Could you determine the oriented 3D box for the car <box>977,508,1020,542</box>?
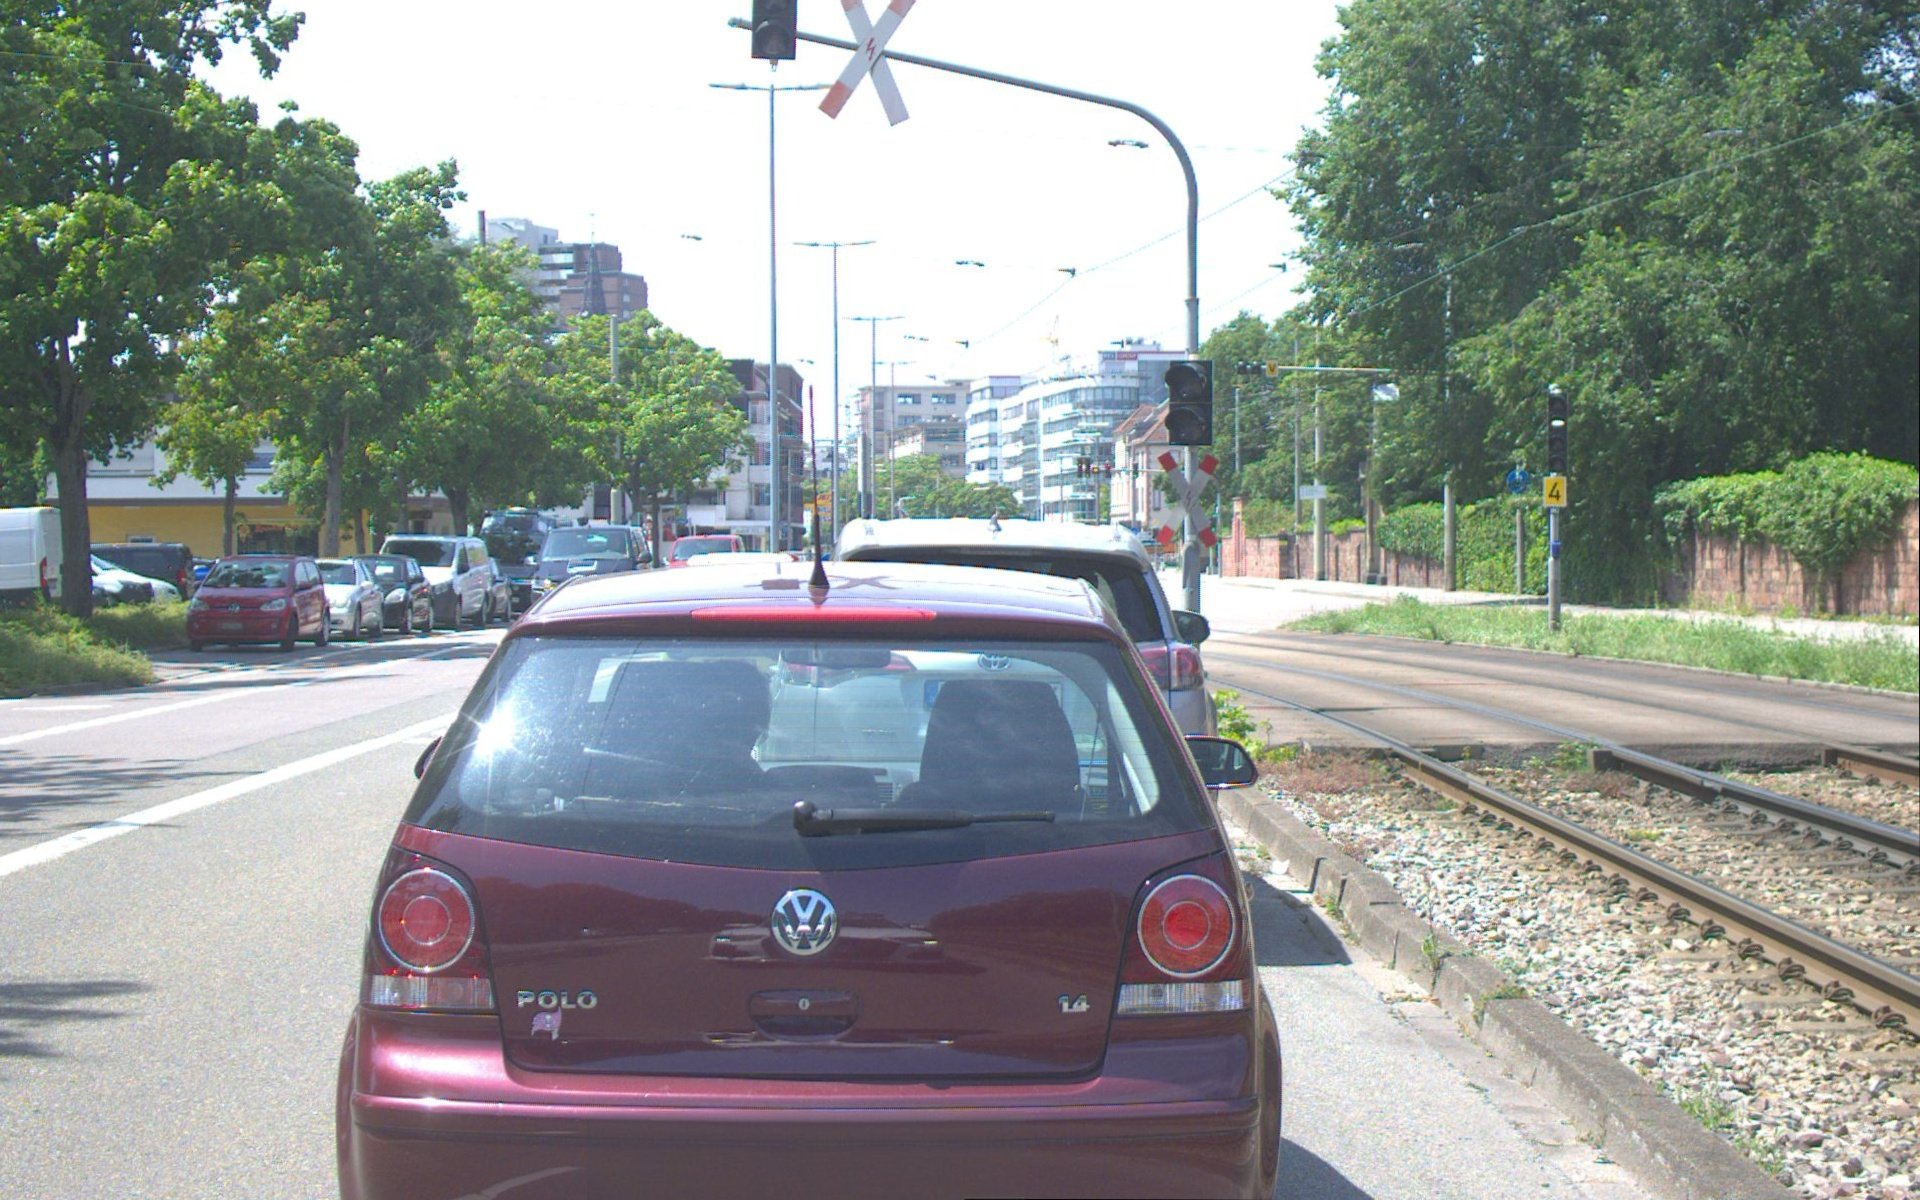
[{"bbox_3d":[2.150,-4.219,193.495,1.918,1.904,4.572,-1,1,-5],"label":"car"}]

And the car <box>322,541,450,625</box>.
[{"bbox_3d":[-10.937,-0.349,65.687,1.614,1.479,3.784,3,1,2],"label":"car"}]

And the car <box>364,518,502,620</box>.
[{"bbox_3d":[-10.811,-0.650,70.883,1.863,1.930,4.805,3,1,2],"label":"car"}]

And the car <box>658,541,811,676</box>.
[{"bbox_3d":[-2.531,0.064,39.166,1.551,1.443,3.412,1,1,-1],"label":"car"}]

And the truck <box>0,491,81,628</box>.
[{"bbox_3d":[-21.192,-0.810,70.629,5.578,2.750,2.432,-1,1,1],"label":"truck"}]

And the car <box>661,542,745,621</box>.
[{"bbox_3d":[-6.560,-0.502,88.122,1.898,1.919,4.820,-2,1,-2],"label":"car"}]

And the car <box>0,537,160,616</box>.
[{"bbox_3d":[-21.560,-0.563,81.590,4.718,1.807,1.797,-1,1,-1],"label":"car"}]

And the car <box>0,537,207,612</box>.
[{"bbox_3d":[-21.389,-0.647,85.921,4.718,1.807,1.797,-1,1,-1],"label":"car"}]

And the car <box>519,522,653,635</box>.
[{"bbox_3d":[-6.695,-0.422,61.890,1.918,1.904,4.571,-2,1,-1],"label":"car"}]

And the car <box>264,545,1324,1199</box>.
[{"bbox_3d":[-0.280,0.646,7.261,1.609,1.493,4.000,1,1,-1],"label":"car"}]

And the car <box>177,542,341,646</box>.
[{"bbox_3d":[-10.917,-0.111,53.750,1.672,1.541,3.726,1,0,2],"label":"car"}]

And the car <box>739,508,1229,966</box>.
[{"bbox_3d":[0.065,0.473,14.735,1.795,1.677,4.000,1,1,-1],"label":"car"}]

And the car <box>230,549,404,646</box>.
[{"bbox_3d":[-11.080,-0.071,59.578,1.719,1.422,4.770,-4,1,4],"label":"car"}]

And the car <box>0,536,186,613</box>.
[{"bbox_3d":[-21.431,-0.624,83.804,4.718,1.807,1.797,-1,1,-1],"label":"car"}]
